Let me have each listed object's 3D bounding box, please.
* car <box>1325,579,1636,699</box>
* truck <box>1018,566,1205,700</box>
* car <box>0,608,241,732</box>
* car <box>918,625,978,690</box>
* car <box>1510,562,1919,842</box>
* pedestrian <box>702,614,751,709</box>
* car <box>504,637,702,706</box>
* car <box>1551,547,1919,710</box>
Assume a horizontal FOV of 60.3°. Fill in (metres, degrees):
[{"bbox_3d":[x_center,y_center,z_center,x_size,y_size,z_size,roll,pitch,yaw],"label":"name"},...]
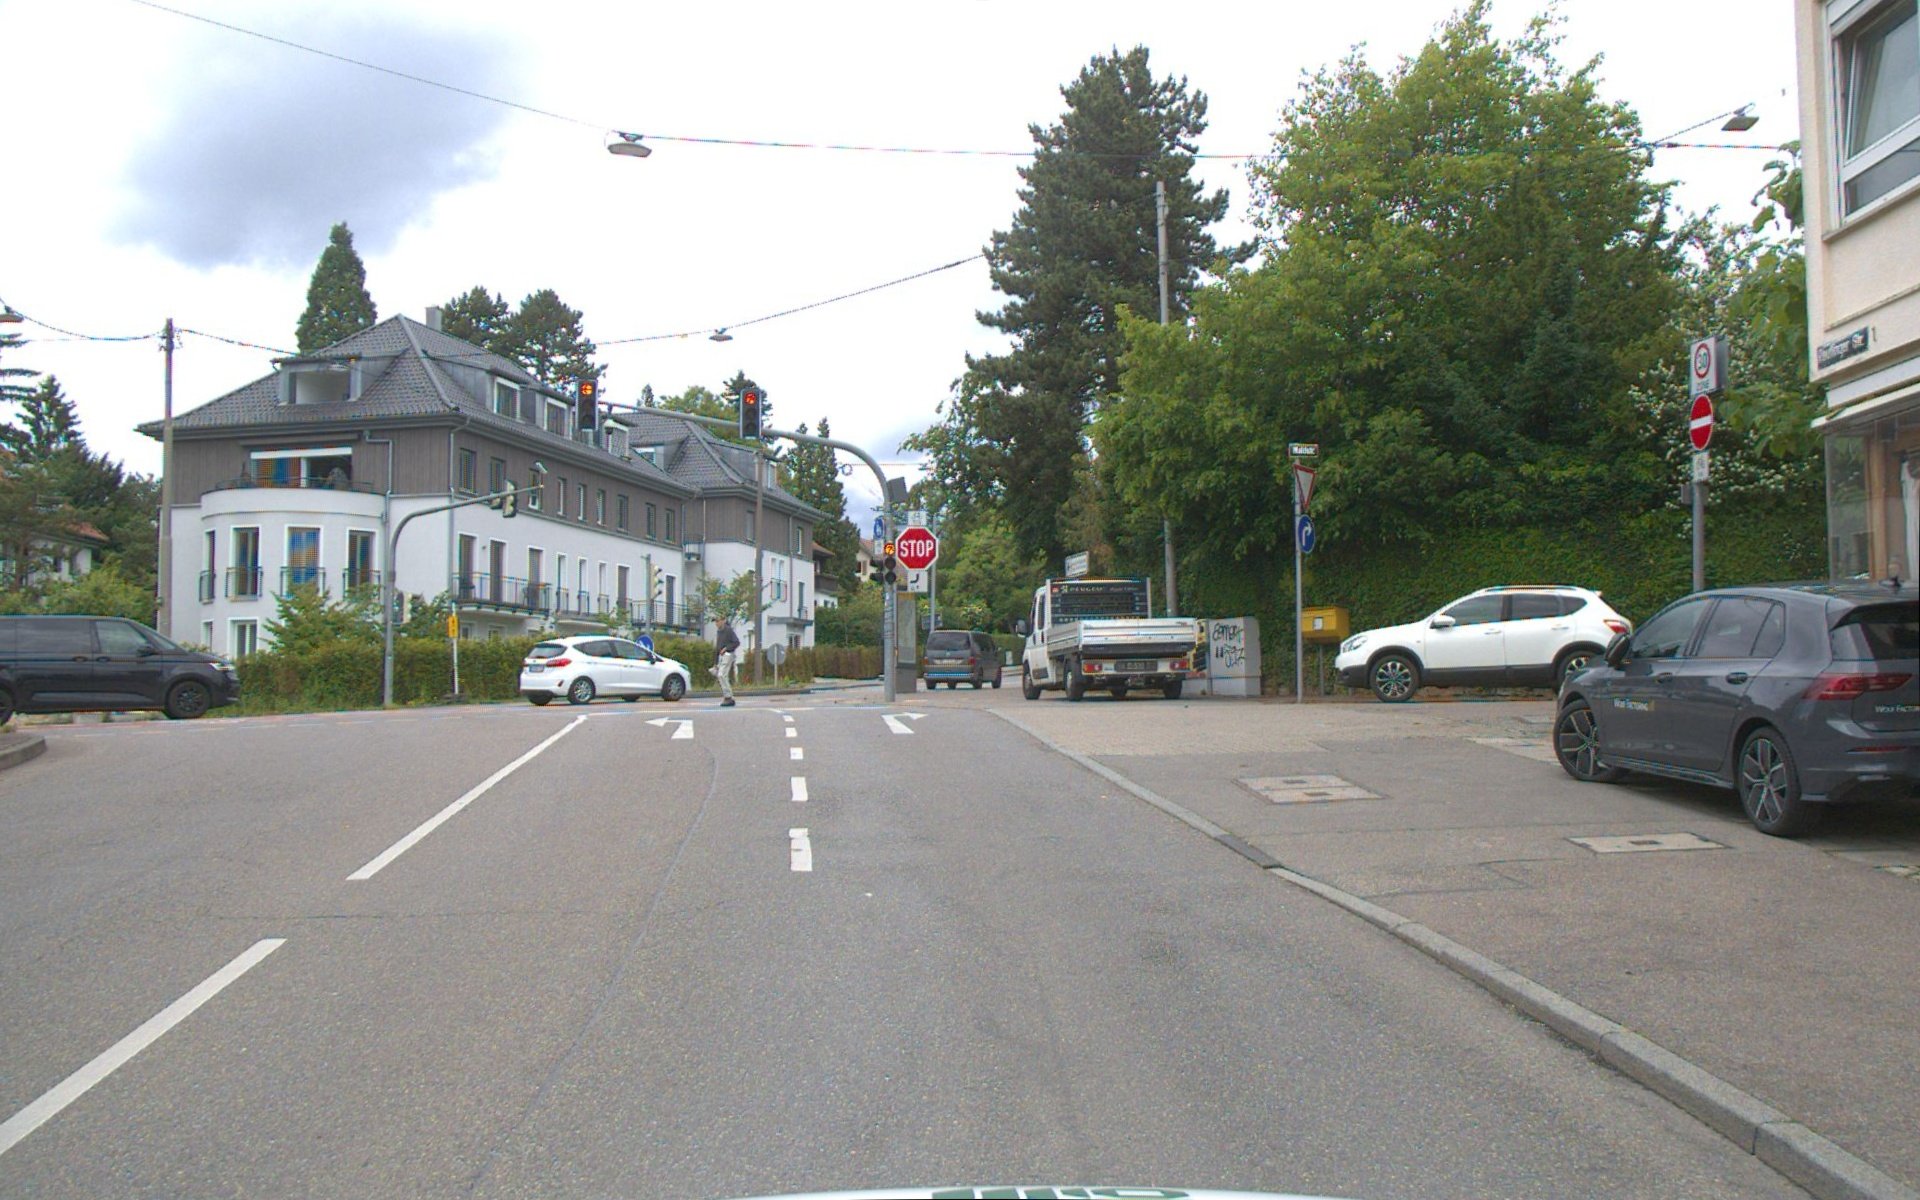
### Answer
[{"bbox_3d":[7.559,0.625,24.335,4.150,1.622,1.989,-1,-4,15],"label":"car"},{"bbox_3d":[2.647,0.691,30.644,2.143,2.234,5.869,0,-3,-8],"label":"truck"},{"bbox_3d":[-15.351,1.212,29.217,4.709,2.049,1.982,2,0,-28],"label":"car"},{"bbox_3d":[-0.435,1.925,56.510,1.953,2.049,4.508,0,0,-1],"label":"car"},{"bbox_3d":[5.528,0.541,11.298,1.812,1.498,4.382,-3,0,-3],"label":"car"},{"bbox_3d":[-4.323,1.128,30.604,0.691,1.711,0.678,0,0,-32],"label":"pedestrian"},{"bbox_3d":[-7.822,1.533,36.503,1.901,1.407,3.978,-2,-2,40],"label":"car"},{"bbox_3d":[7.962,0.246,15.231,4.401,1.350,1.838,-2,-1,6],"label":"car"}]
